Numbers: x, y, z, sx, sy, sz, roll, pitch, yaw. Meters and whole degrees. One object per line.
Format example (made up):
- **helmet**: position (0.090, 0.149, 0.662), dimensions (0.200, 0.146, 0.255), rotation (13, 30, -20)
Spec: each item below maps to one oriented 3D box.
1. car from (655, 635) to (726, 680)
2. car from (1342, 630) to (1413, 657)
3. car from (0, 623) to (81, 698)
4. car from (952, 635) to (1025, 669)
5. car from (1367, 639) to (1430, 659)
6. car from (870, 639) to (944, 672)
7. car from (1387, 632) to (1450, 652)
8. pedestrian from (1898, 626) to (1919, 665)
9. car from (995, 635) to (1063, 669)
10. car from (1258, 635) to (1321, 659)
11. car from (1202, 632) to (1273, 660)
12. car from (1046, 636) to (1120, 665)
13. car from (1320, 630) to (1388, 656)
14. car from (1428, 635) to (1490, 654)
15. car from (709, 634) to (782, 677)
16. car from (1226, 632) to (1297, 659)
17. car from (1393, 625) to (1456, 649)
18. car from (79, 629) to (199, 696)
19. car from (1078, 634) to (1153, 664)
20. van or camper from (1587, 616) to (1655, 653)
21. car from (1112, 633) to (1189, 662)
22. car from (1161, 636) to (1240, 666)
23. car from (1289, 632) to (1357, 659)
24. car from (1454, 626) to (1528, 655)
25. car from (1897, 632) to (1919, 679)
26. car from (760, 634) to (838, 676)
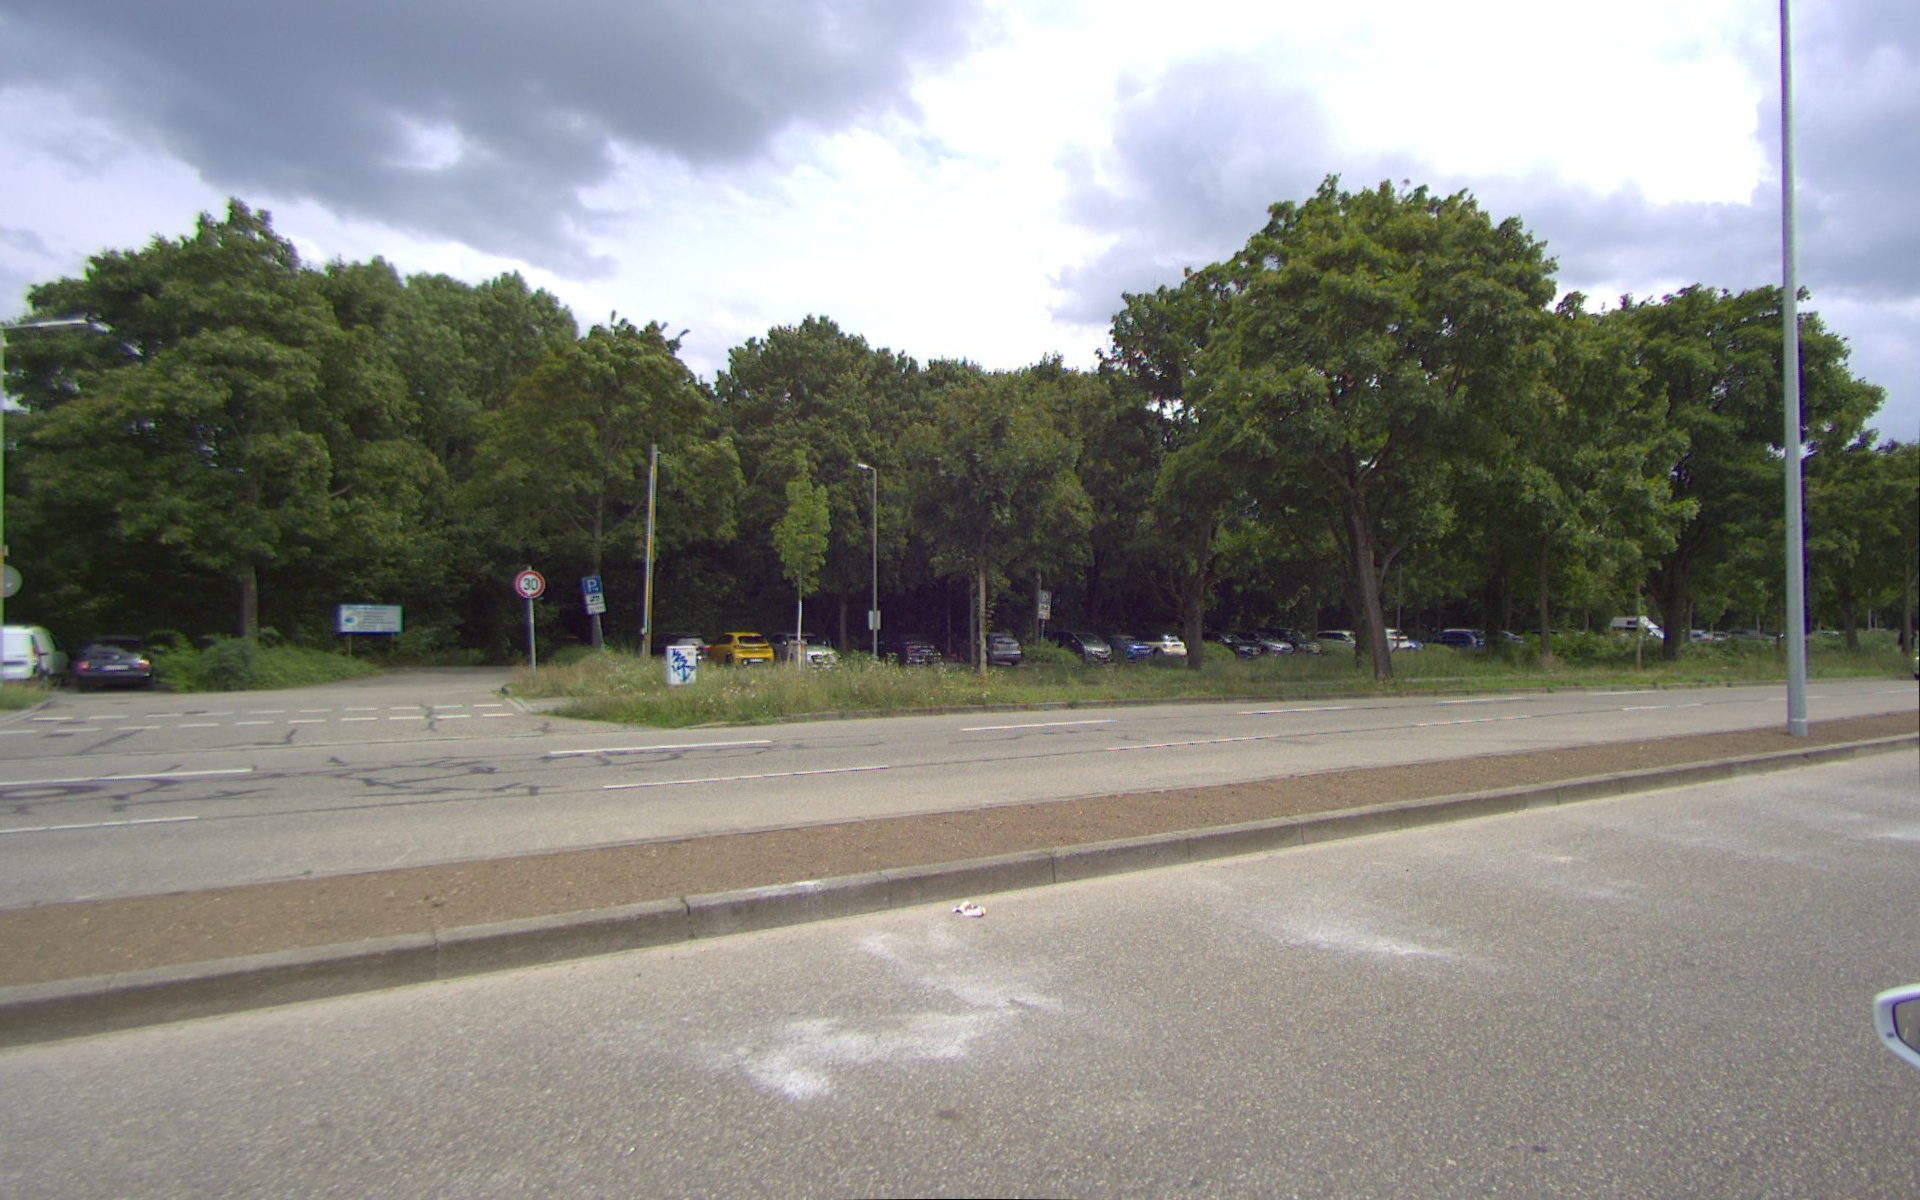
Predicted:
- **car**: position (-10.239, 2.128, 38.041), dimensions (1.763, 1.518, 3.971), rotation (0, -1, -28)
- **car**: position (25.010, 2.588, 60.280), dimensions (1.859, 1.539, 3.635), rotation (0, -1, -28)
- **car**: position (-25.895, 1.609, 27.519), dimensions (1.916, 1.912, 3.969), rotation (0, -1, -30)
- **car**: position (1.264, 2.335, 45.721), dimensions (1.763, 1.366, 3.694), rotation (0, -1, -28)
- **car**: position (26.897, 2.973, 61.696), dimensions (1.423, 1.127, 3.353), rotation (0, -1, -28)
- **car**: position (-2.309, 2.326, 42.663), dimensions (1.763, 1.274, 3.694), rotation (0, -1, -28)
- **car**: position (28.153, 2.548, 61.712), dimensions (1.423, 1.144, 3.353), rotation (0, -1, -28)
- **pedestrian**: position (45.707, 2.189, 48.411), dimensions (0.682, 1.863, 0.649), rotation (-1, -1, 38)
- **car**: position (3.149, 2.385, 46.651), dimensions (1.498, 1.430, 3.635), rotation (0, -1, -27)
- **car**: position (18.324, 2.578, 55.944), dimensions (1.498, 1.222, 3.282), rotation (0, -1, -28)
- **car**: position (14.810, 2.444, 53.724), dimensions (1.686, 1.378, 3.632), rotation (0, -1, -28)
- **car**: position (5.868, 2.407, 48.235), dimensions (1.645, 1.254, 3.973), rotation (0, -1, -27)
- **car**: position (22.944, 2.485, 58.604), dimensions (1.498, 1.430, 3.635), rotation (0, -1, -27)
- **car**: position (31.470, 2.817, 63.429), dimensions (1.423, 1.108, 3.353), rotation (0, -1, -28)
- **car**: position (-8.436, 2.130, 39.286), dimensions (1.763, 1.518, 3.971), rotation (0, -1, -28)
- **car**: position (16.419, 2.475, 54.876), dimensions (1.686, 1.378, 3.632), rotation (0, -1, -28)
- **car**: position (28.991, 2.299, 62.794), dimensions (1.305, 1.430, 3.536), rotation (0, -1, -27)
- **car**: position (-23.698, 1.733, 29.165), dimensions (2.022, 1.736, 3.969), rotation (0, -1, -30)
- **car**: position (7.646, 2.397, 49.772), dimensions (1.646, 1.378, 3.972), rotation (0, -1, -27)
- **van or camper**: position (51.688, 2.654, 78.605), dimensions (1.904, 2.793, 3.968), rotation (0, -1, -30)
- **car**: position (9.708, 2.401, 51.479), dimensions (1.799, 1.378, 3.972), rotation (0, -1, -27)
- **car**: position (12.471, 2.610, 52.360), dimensions (1.973, 1.429, 3.975), rotation (0, -1, -25)
- **car**: position (20.722, 2.570, 57.428), dimensions (1.498, 1.430, 3.635), rotation (0, -1, -27)
- **car**: position (35.167, 2.663, 66.606), dimensions (1.975, 1.806, 3.971), rotation (0, -1, -28)
- **car**: position (33.083, 1.822, 33.488), dimensions (3.954, 1.496, 1.681), rotation (1, -2, -31)
- **car**: position (-6.475, 2.133, 40.015), dimensions (1.862, 1.518, 4.164), rotation (0, -1, -28)
